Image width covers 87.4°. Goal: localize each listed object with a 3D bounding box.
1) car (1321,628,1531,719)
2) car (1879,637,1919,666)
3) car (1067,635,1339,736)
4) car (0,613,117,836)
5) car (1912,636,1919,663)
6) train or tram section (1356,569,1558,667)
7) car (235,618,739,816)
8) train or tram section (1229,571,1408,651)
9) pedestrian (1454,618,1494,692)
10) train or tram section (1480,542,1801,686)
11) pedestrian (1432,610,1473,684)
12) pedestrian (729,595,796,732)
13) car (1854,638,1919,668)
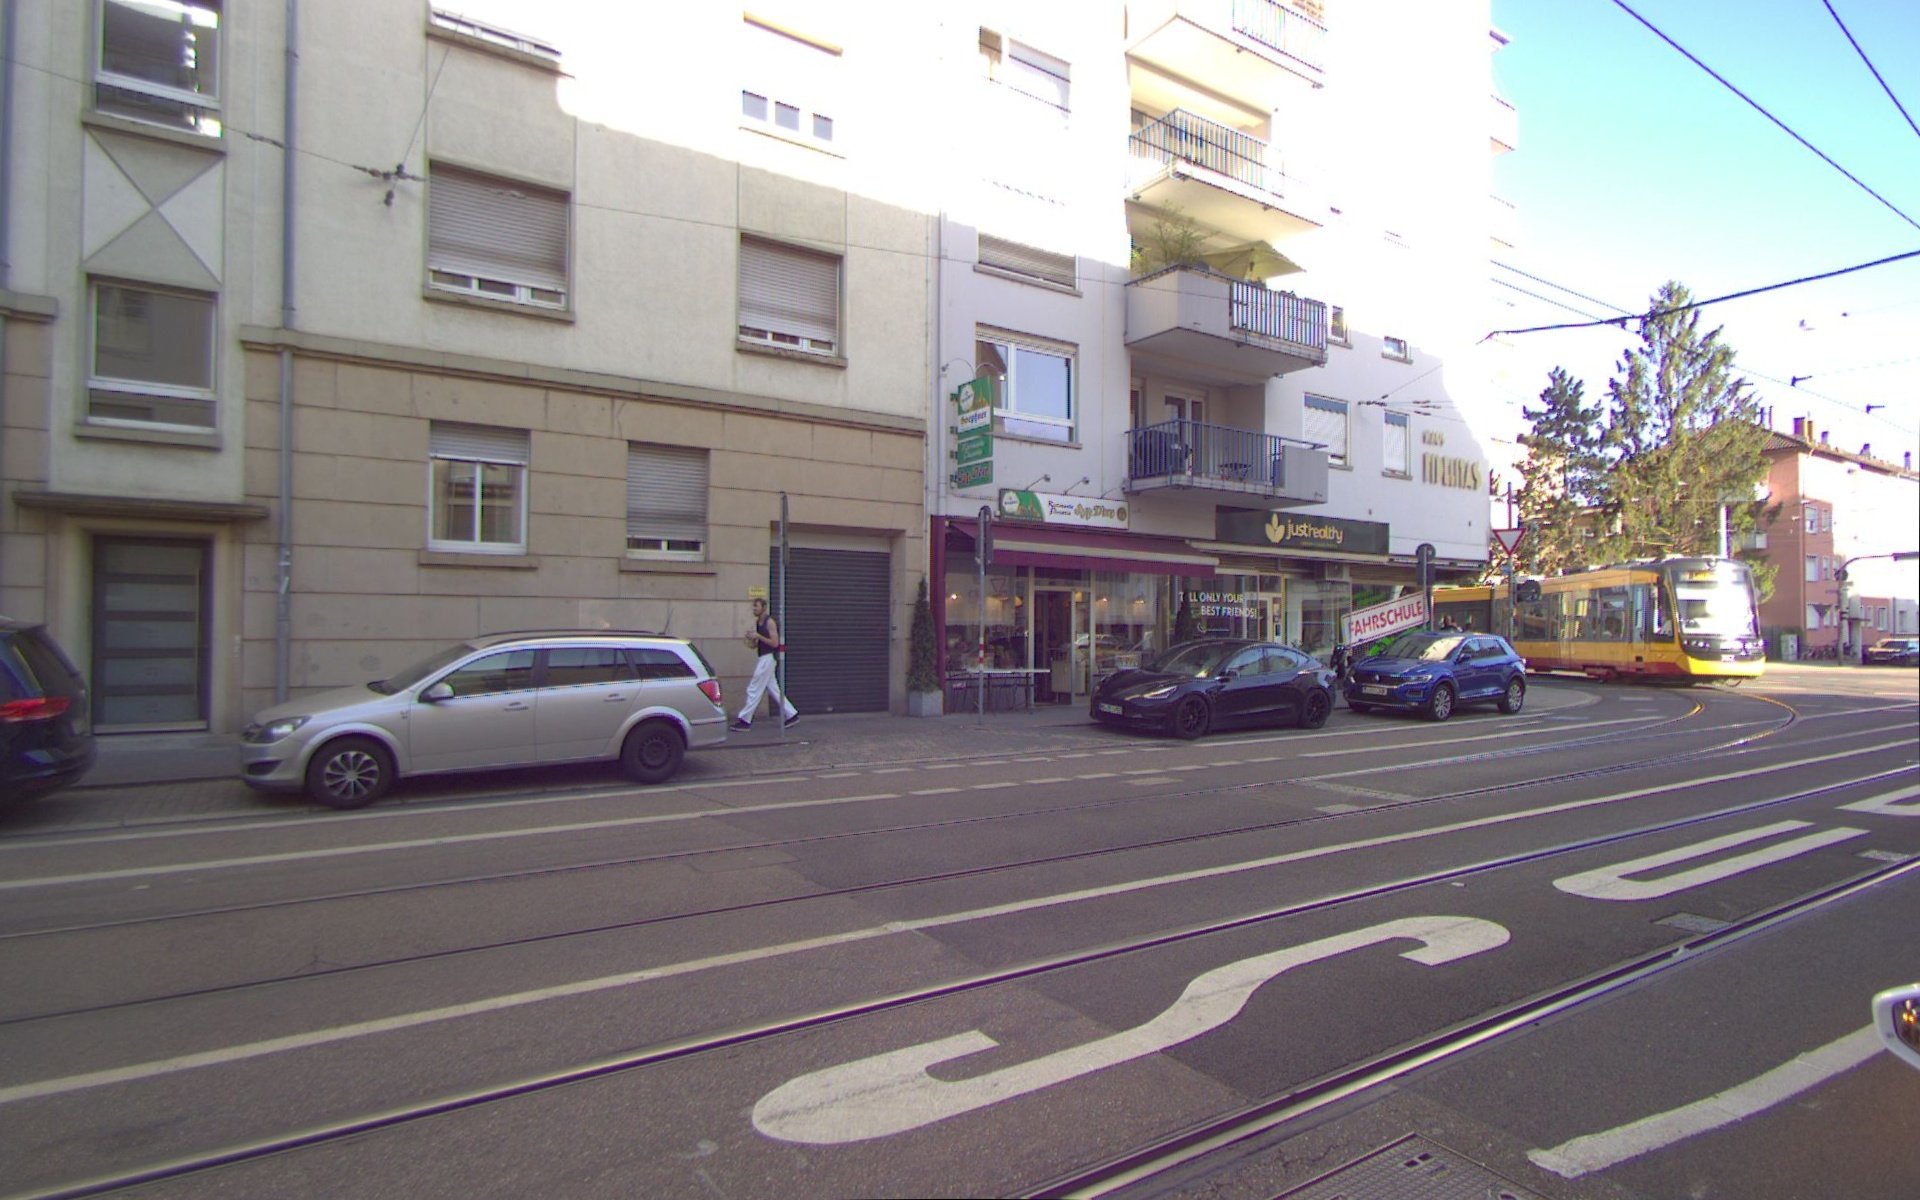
[{"bbox_3d":[8.921,1.319,19.151,4.030,1.552,1.858,1,-2,-34],"label":"car"},{"bbox_3d":[53.864,2.902,56.647,4.250,1.518,1.806,2,0,-30],"label":"car"},{"bbox_3d":[3.970,1.277,16.143,4.382,1.405,1.810,1,-2,-34],"label":"car"},{"bbox_3d":[-9.003,0.889,7.249,4.249,1.606,1.893,2,0,-35],"label":"car"},{"bbox_3d":[58.207,2.958,59.352,4.103,1.531,1.778,2,0,-31],"label":"car"},{"bbox_3d":[20.860,0.704,43.026,2.784,3.679,9.065,1,0,-11],"label":"train or tram section"},{"bbox_3d":[-4.704,1.039,10.319,4.319,1.580,1.981,2,0,-34],"label":"car"},{"bbox_3d":[18.900,0.536,54.615,2.703,3.680,14.244,2,0,-8],"label":"train or tram section"},{"bbox_3d":[12.907,1.372,25.235,0.691,1.829,0.568,2,0,-30],"label":"pedestrian"},{"bbox_3d":[20.548,0.558,31.866,3.010,3.641,12.640,0,-2,7],"label":"train or tram section"},{"bbox_3d":[13.986,1.330,28.548,0.688,2.040,0.764,2,0,-35],"label":"pedestrian"},{"bbox_3d":[-2.786,0.876,14.146,0.725,1.857,0.595,2,0,-30],"label":"pedestrian"},{"bbox_3d":[49.610,2.829,53.583,3.949,1.440,1.784,2,0,-31],"label":"car"}]
